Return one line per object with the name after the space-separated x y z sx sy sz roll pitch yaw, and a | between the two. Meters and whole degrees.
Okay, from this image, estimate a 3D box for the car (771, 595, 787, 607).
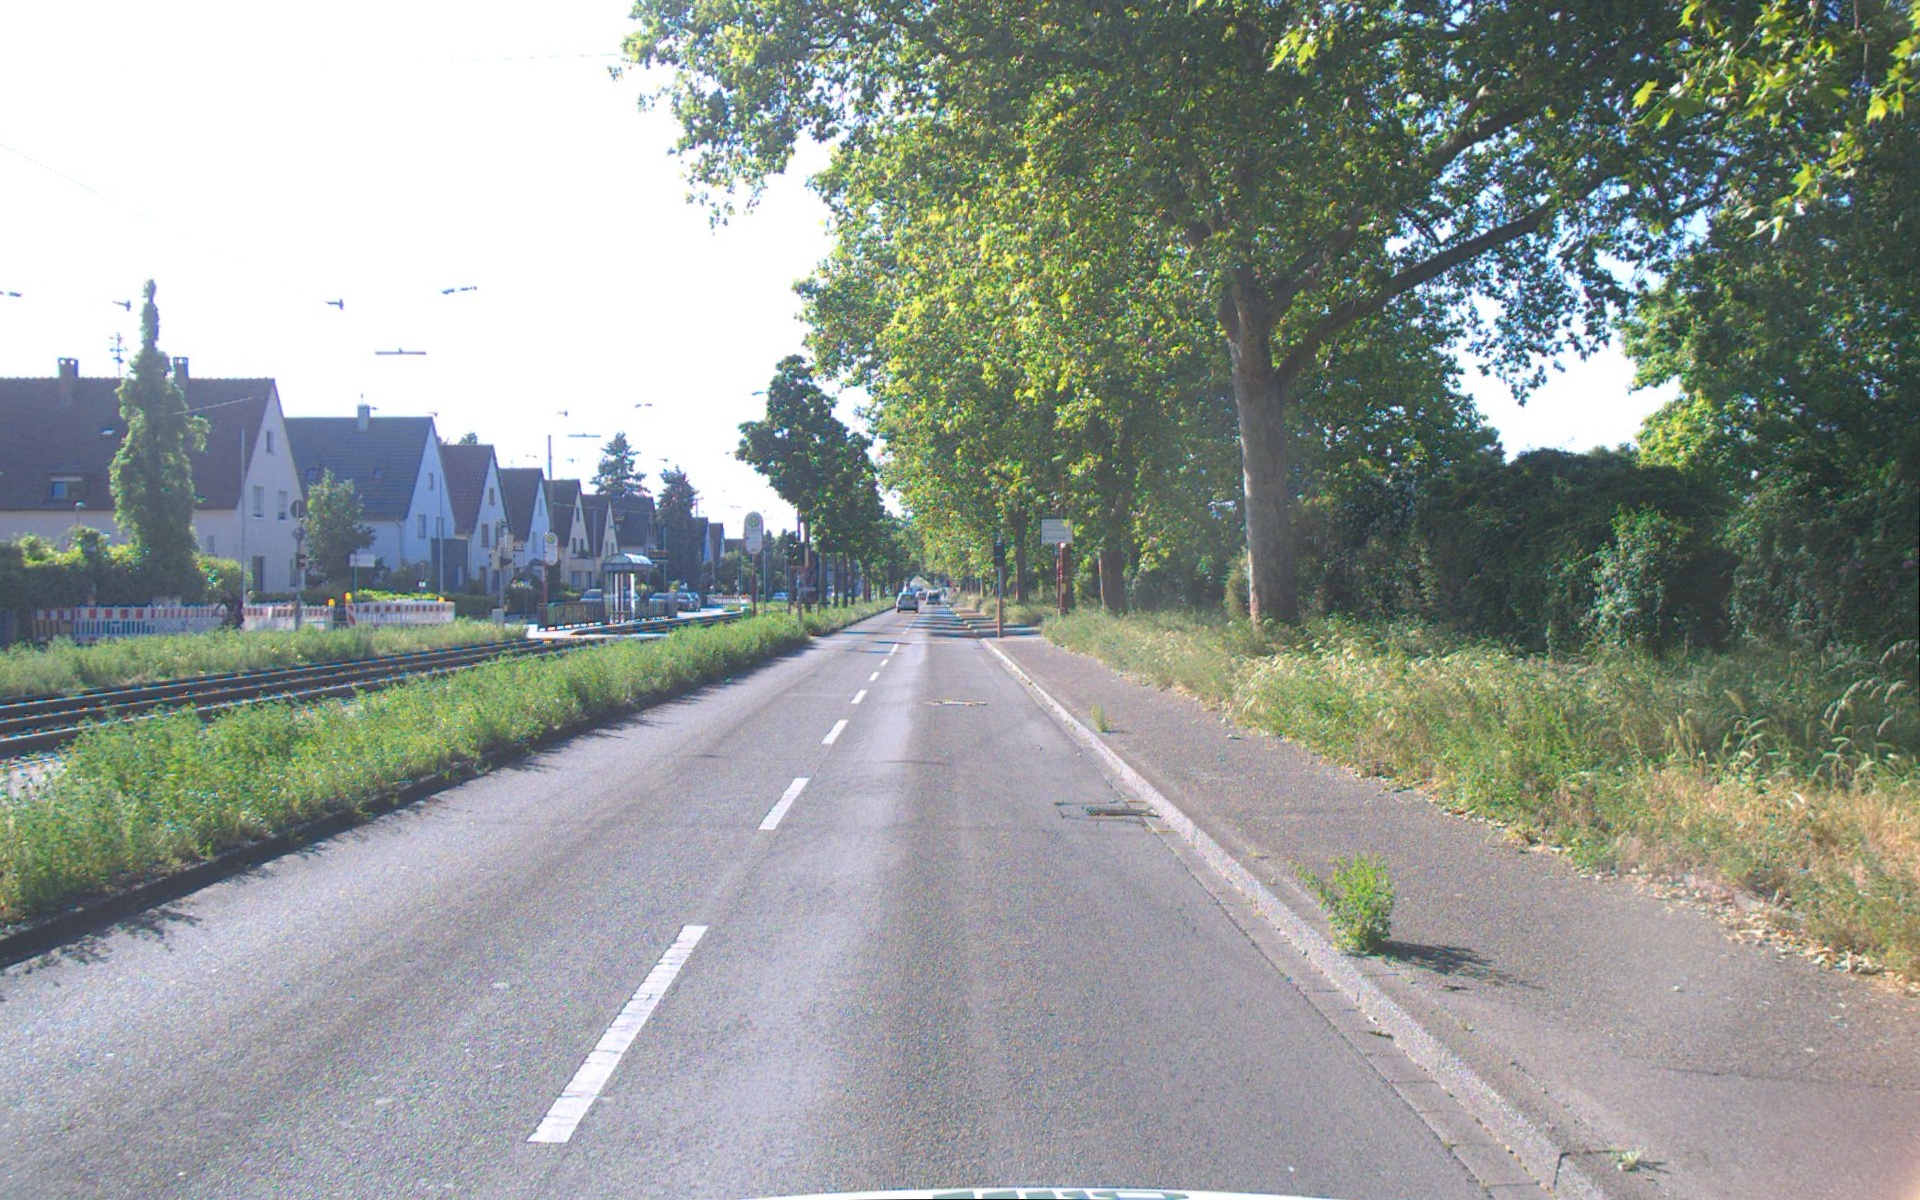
-24.542 0.154 224.566 1.822 1.569 4.226 1 0 -1 | car

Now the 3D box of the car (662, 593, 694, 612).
-23.218 0.201 136.225 1.953 1.475 4.127 3 0 -1 | car

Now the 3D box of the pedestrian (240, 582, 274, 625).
-25.754 0.114 60.586 0.774 1.561 0.814 0 2 14 | pedestrian

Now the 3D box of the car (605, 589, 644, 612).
-22.976 0.032 113.378 1.887 1.521 4.255 1 0 -1 | car

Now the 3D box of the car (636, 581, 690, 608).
-29.045 -0.540 161.794 4.926 2.671 2.102 0 1 -1 | car

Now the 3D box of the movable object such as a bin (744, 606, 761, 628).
-5.911 0.483 47.041 0.378 0.593 0.379 1 0 8 | movable object such as a bin

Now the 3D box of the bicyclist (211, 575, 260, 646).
-19.880 0.286 45.382 0.834 1.920 1.072 1 0 -1 | bicyclist

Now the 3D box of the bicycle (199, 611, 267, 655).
-19.890 0.893 45.312 0.834 1.154 2.308 1 0 -1 | bicycle

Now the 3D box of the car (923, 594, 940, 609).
-3.364 0.154 192.061 1.953 1.631 4.472 1 0 -1 | car

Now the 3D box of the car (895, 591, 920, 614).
-3.862 0.167 122.088 1.822 1.629 4.226 1 0 -1 | car

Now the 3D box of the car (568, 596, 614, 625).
-23.036 0.629 103.492 1.953 1.743 4.390 1 0 -1 | car
